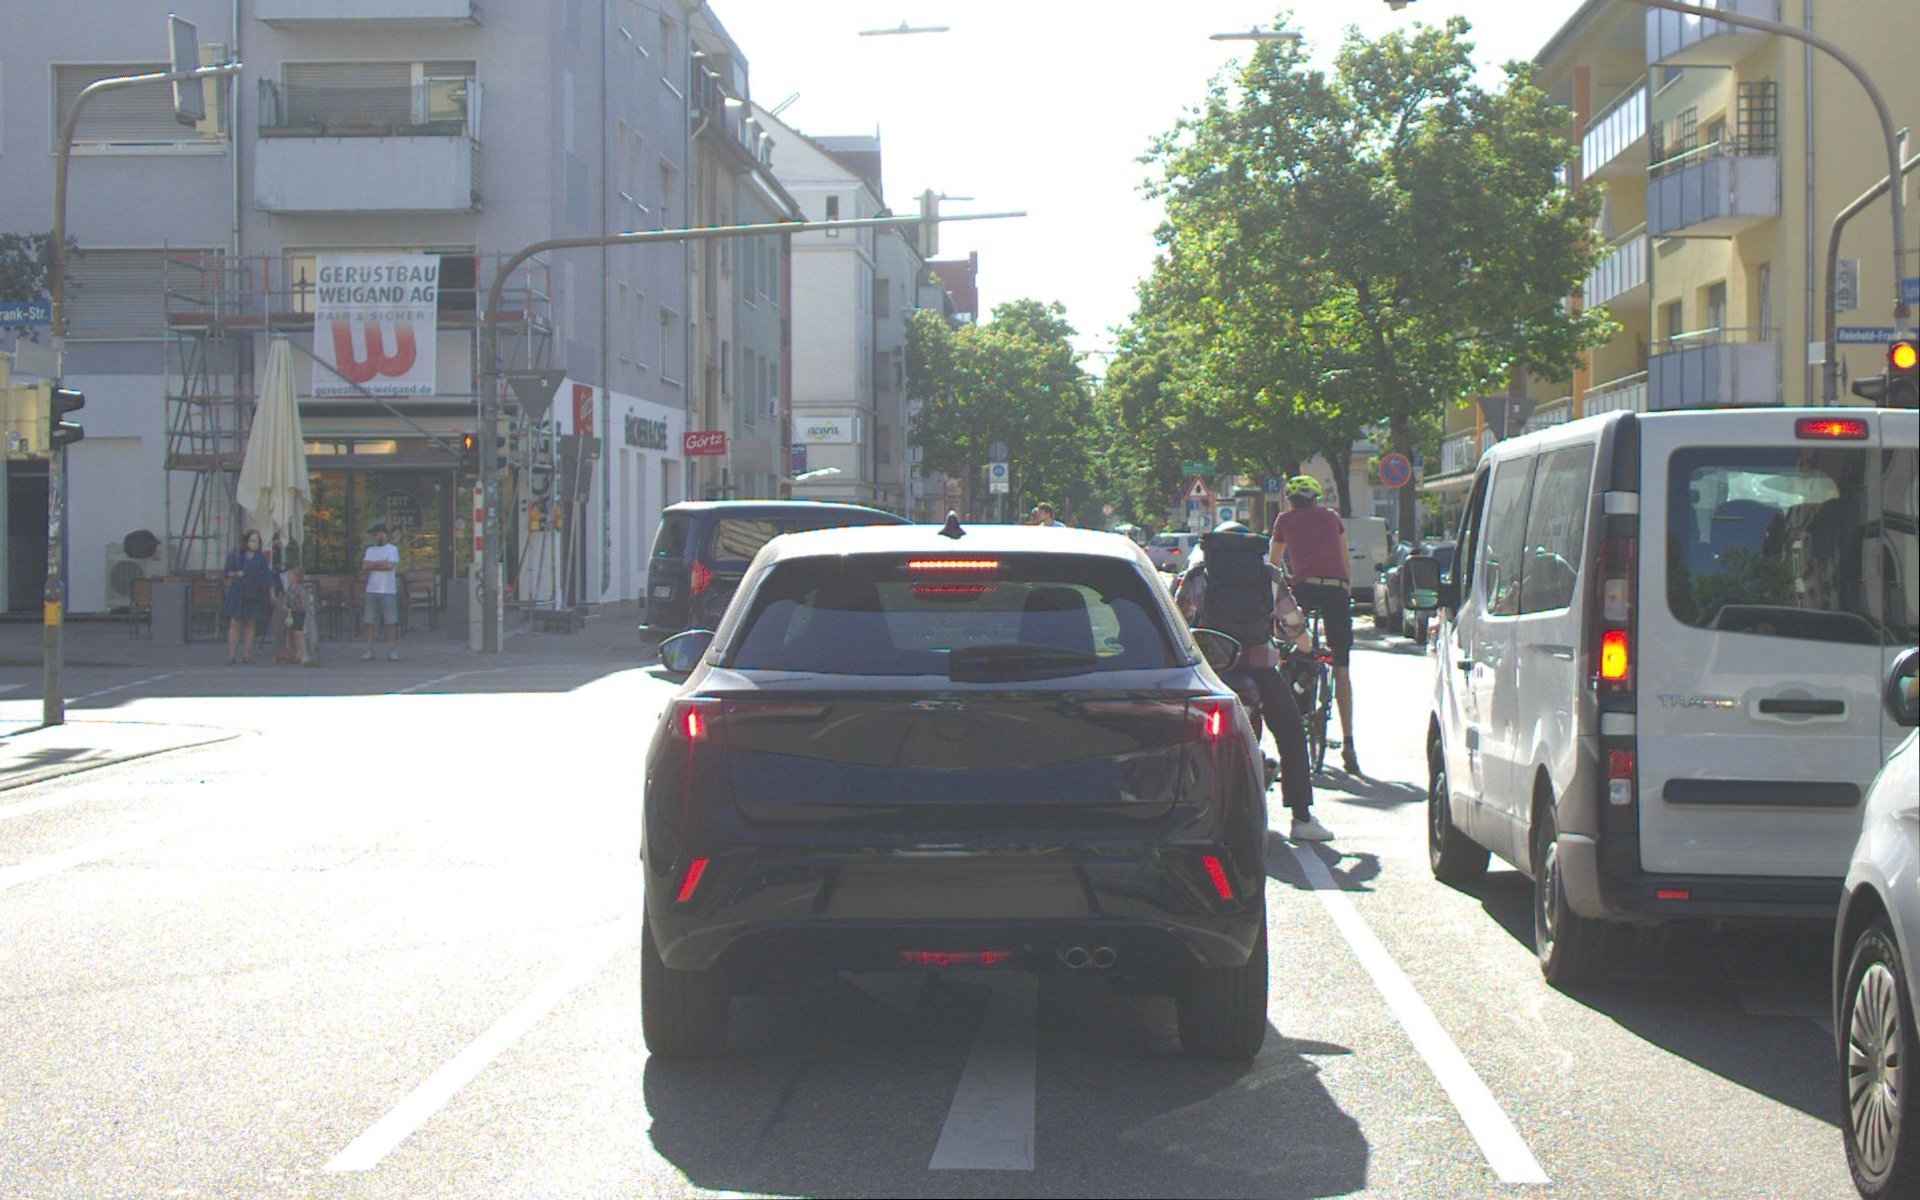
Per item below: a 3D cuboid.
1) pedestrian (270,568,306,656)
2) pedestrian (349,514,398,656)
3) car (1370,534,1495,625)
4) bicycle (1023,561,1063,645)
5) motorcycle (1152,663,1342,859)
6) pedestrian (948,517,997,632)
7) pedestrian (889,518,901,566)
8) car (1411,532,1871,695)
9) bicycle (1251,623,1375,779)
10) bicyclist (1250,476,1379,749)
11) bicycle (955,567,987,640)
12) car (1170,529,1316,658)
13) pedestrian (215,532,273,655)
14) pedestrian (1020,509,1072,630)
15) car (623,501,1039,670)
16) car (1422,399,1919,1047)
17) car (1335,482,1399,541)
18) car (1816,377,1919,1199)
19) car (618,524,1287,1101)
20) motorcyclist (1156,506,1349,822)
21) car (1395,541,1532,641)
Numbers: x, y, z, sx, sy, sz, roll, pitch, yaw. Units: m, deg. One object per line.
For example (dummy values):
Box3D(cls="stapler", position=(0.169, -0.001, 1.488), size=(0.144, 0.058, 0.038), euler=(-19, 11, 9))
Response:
Box3D(cls="pedestrian", position=(-8.340, 0.147, 42.650), size=(0.355, 1.088, 0.462), euler=(0, 1, -1))
Box3D(cls="pedestrian", position=(-7.361, -0.195, 43.170), size=(0.561, 1.769, 0.584), euler=(0, 1, -6))
Box3D(cls="car", position=(7.714, -0.366, 56.397), size=(1.634, 1.428, 4.000), euler=(0, 1, 2))
Box3D(cls="bicycle", position=(1.165, 0.028, 48.395), size=(0.521, 1.143, 2.170), euler=(0, 1, 0))
Box3D(cls="motorcycle", position=(1.388, 0.765, 16.920), size=(0.825, 0.842, 1.885), euler=(0, 1, 2))
Box3D(cls="pedestrian", position=(0.174, -0.366, 48.410), size=(0.680, 1.600, 0.762), euler=(0, 1, 0))
Box3D(cls="pedestrian", position=(-2.263, -2.034, 120.256), size=(0.402, 1.669, 0.418), euler=(0, 1, 2))
Box3D(cls="car", position=(6.321, 0.102, 32.246), size=(3.987, 1.459, 1.831), euler=(0, 1, 3))
Box3D(cls="bicycle", position=(2.264, 0.627, 22.270), size=(0.577, 0.901, 2.301), euler=(0, 1, 0))
Box3D(cls="bicyclist", position=(2.270, 0.063, 22.161), size=(0.689, 1.707, 1.414), euler=(0, 1, 0))
Box3D(cls="bicycle", position=(0.152, 0.041, 48.517), size=(0.443, 0.989, 2.069), euler=(0, 1, 0))
Box3D(cls="car", position=(3.909, -0.131, 48.091), size=(1.902, 1.722, 4.000), euler=(0, 1, 3))
Box3D(cls="pedestrian", position=(-8.861, -0.089, 42.585), size=(0.584, 1.516, 0.649), euler=(0, 1, -1))
Box3D(cls="pedestrian", position=(1.209, -0.434, 48.329), size=(0.707, 1.695, 0.802), euler=(0, 1, 0))
Box3D(cls="car", position=(-1.394, -0.185, 36.776), size=(4.058, 1.722, 1.909), euler=(-1, 1, -20))
Box3D(cls="car", position=(2.976, 0.327, 12.935), size=(1.994, 1.972, 4.895), euler=(0, 1, 2))
Box3D(cls="car", position=(14.058, -3.047, 118.864), size=(1.855, 2.007, 3.881), euler=(0, 1, 2))
Box3D(cls="car", position=(2.920, 0.513, 5.644), size=(1.836, 1.862, 4.996), euler=(2, 1, 1))
Box3D(cls="car", position=(-0.012, 0.522, 11.131), size=(1.770, 1.525, 4.000), euler=(0, 1, 0))
Box3D(cls="motorcyclist", position=(1.417, 0.292, 16.866), size=(0.864, 1.497, 1.160), euler=(0, 1, 1))
Box3D(cls="car", position=(7.547, -0.160, 51.814), size=(1.634, 1.428, 3.956), euler=(0, 1, 2))
